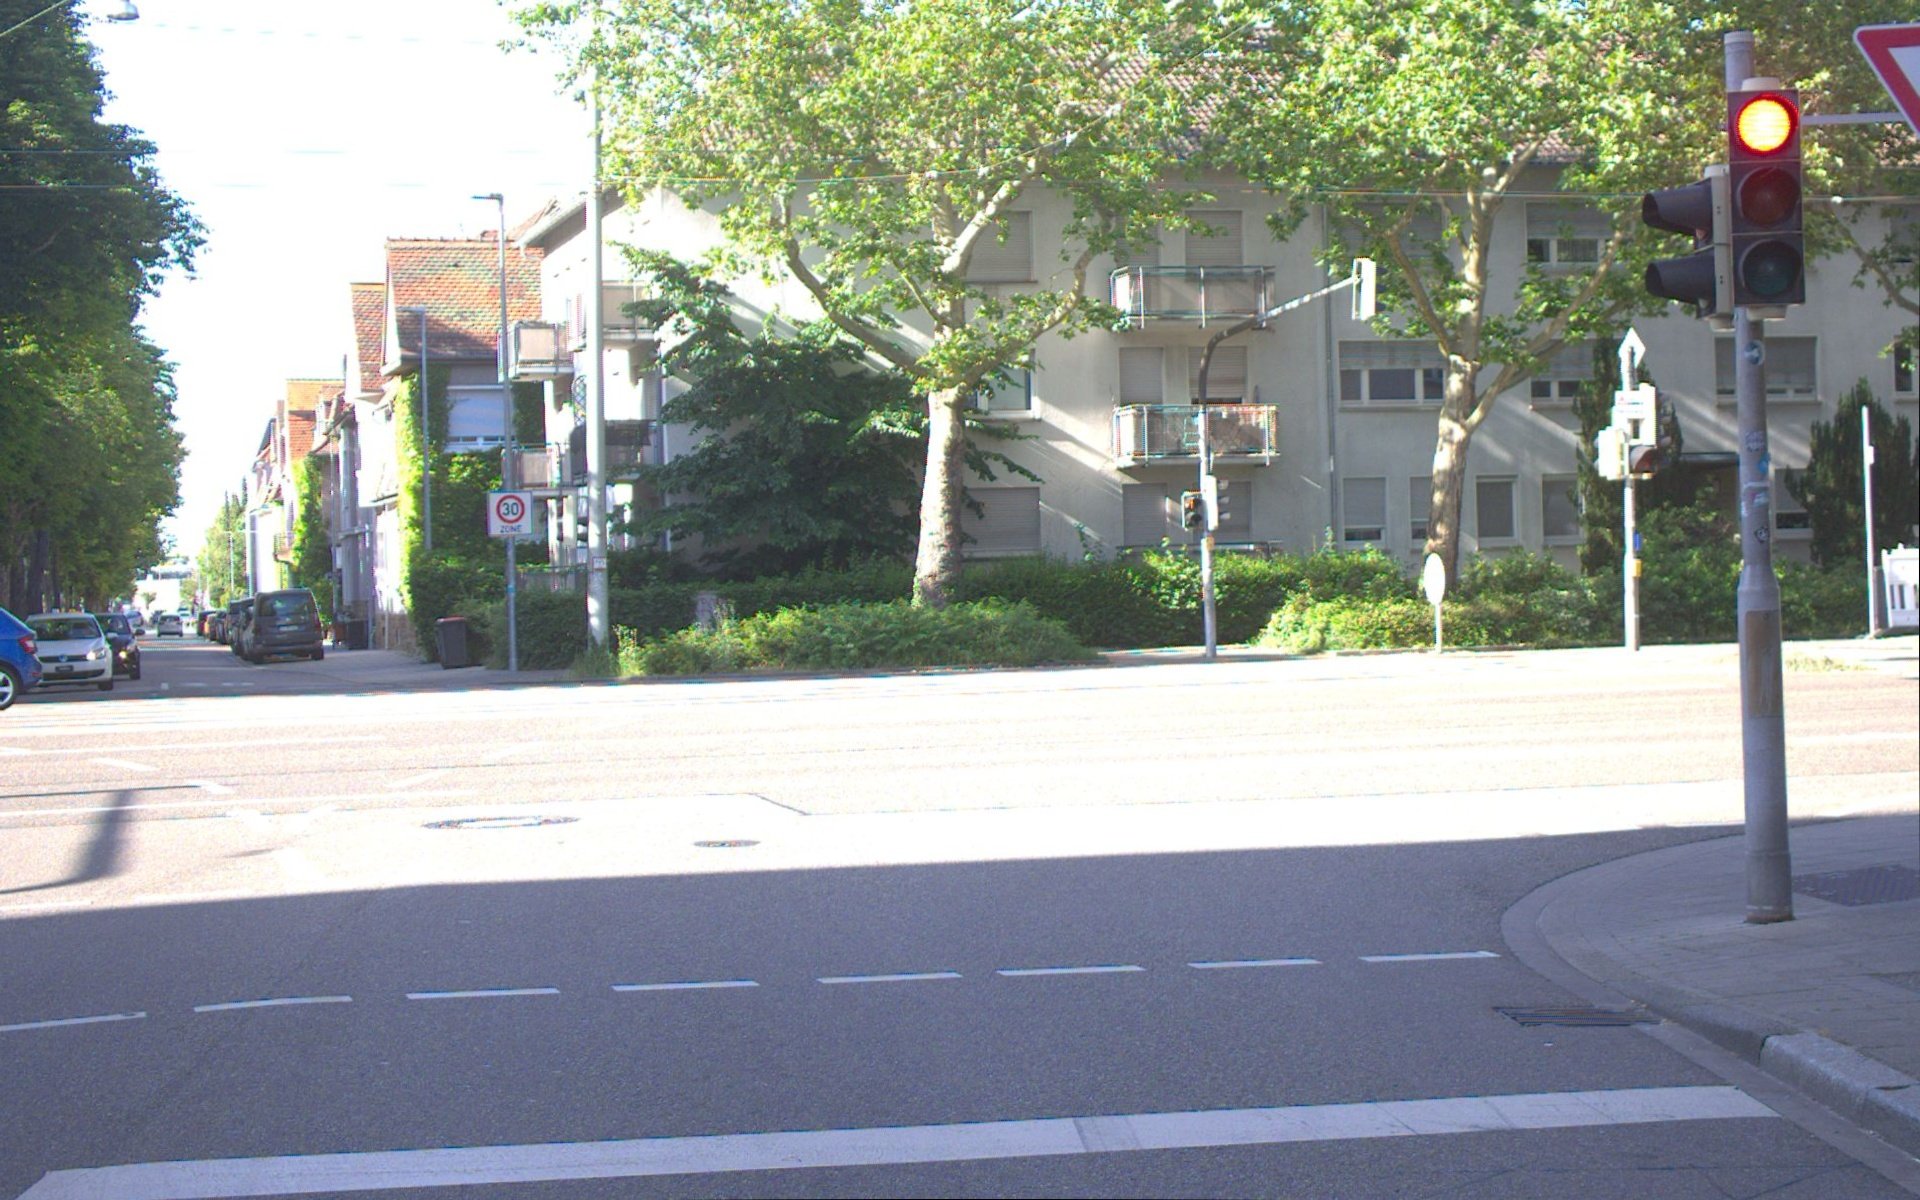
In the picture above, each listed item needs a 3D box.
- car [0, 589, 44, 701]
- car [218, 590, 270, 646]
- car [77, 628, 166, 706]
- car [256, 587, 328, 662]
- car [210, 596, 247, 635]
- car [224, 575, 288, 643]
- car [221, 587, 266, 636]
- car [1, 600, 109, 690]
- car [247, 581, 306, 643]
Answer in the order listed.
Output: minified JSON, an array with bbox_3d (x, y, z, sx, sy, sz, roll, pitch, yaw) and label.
[{"bbox_3d":[-13.728,0.606,43.810,3.780,1.395,1.646,-1,1,-21],"label":"car"},{"bbox_3d":[-26.700,0.655,128.151,1.772,1.912,3.535,-3,1,-12],"label":"car"},{"bbox_3d":[-18.109,1.418,74.323,1.698,1.478,3.535,-3,1,-12],"label":"car"},{"bbox_3d":[-18.388,0.651,94.526,1.772,1.912,3.535,-3,1,-12],"label":"car"},{"bbox_3d":[-38.465,0.797,180.818,1.772,1.912,3.535,-3,1,-12],"label":"car"},{"bbox_3d":[-21.452,0.258,104.640,1.772,1.912,3.535,-3,1,-12],"label":"car"},{"bbox_3d":[-30.529,0.473,146.436,1.772,1.912,3.535,-3,1,-12],"label":"car"},{"bbox_3d":[-16.646,0.811,63.355,1.698,1.478,3.535,-3,1,-12],"label":"car"},{"bbox_3d":[-22.922,0.380,115.258,1.772,1.912,3.535,-3,1,-12],"label":"car"}]
